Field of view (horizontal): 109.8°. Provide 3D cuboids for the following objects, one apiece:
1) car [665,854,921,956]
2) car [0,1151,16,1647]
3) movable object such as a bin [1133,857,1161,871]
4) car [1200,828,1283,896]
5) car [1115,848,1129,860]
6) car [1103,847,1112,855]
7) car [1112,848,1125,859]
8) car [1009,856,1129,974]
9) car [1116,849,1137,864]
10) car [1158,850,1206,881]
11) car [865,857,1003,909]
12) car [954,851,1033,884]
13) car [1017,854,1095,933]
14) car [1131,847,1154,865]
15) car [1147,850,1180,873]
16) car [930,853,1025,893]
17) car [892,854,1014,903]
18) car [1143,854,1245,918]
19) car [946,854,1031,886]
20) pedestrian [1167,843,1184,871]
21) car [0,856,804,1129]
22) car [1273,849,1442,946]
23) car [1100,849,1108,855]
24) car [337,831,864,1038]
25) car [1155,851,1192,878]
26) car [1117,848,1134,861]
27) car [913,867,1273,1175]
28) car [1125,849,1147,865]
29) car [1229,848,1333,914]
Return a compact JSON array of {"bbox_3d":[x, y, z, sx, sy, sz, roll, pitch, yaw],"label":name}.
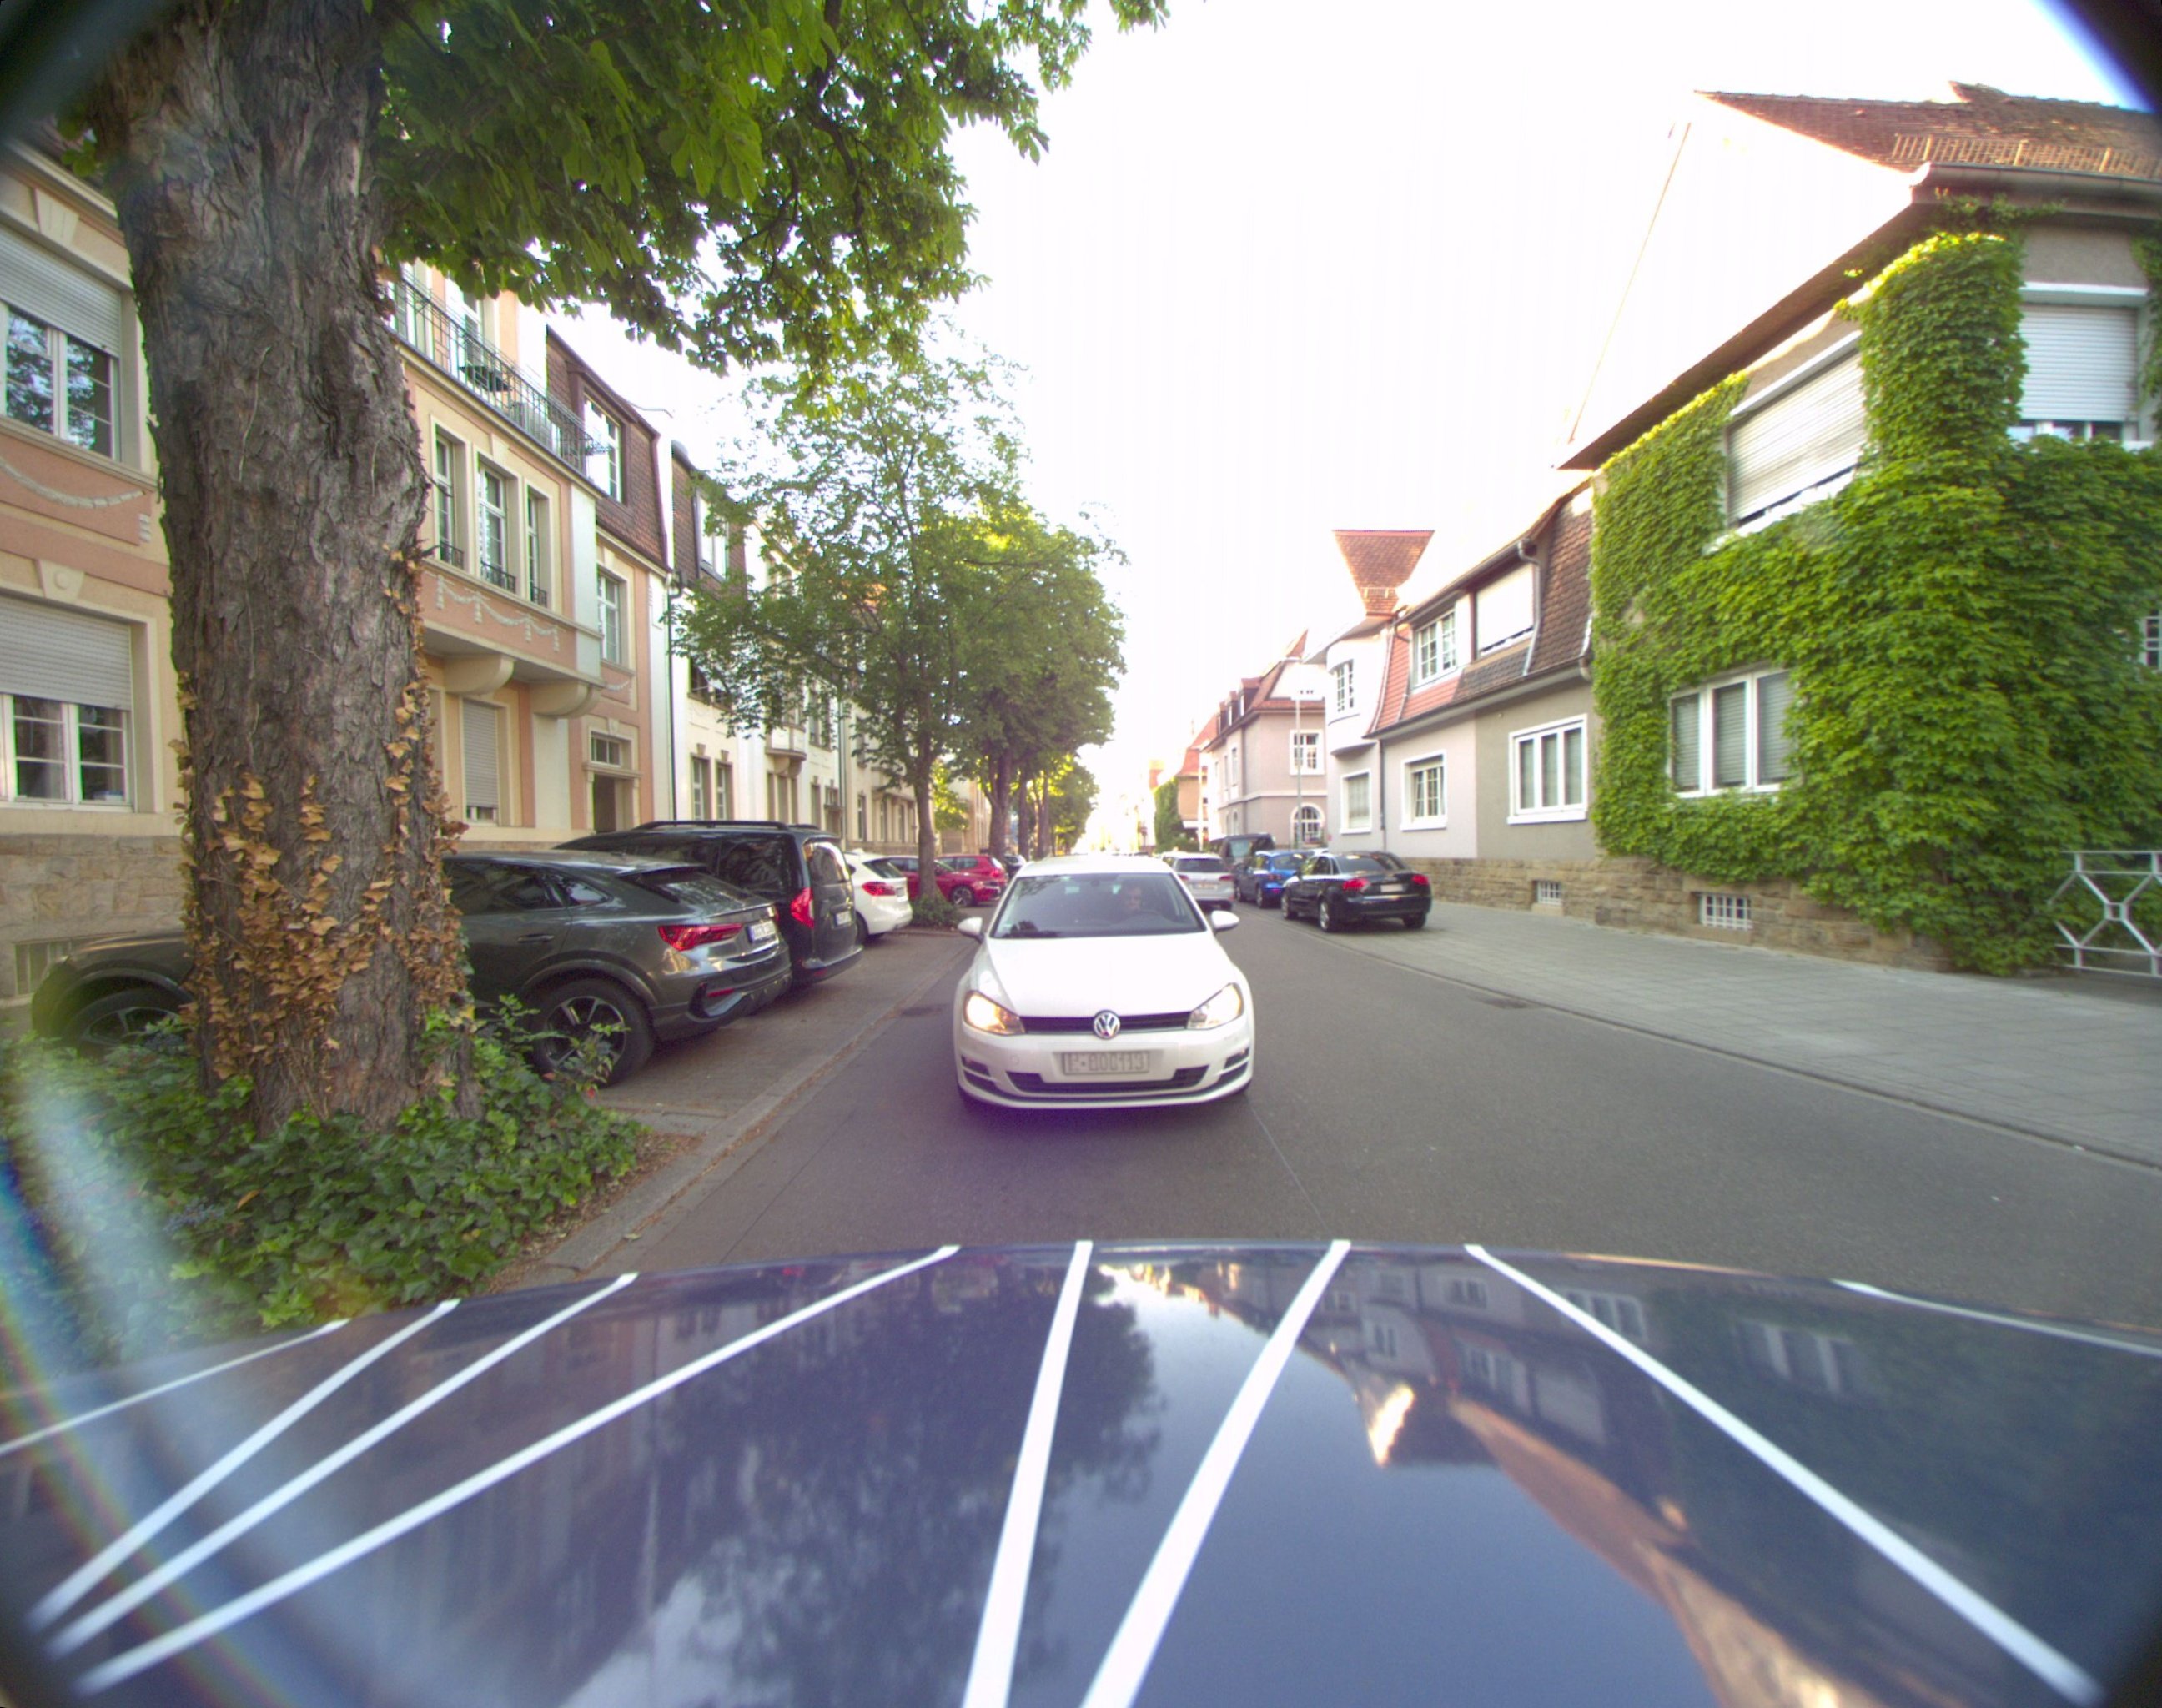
[{"bbox_3d":[-4.575,0.800,12.452,3.623,1.541,1.537,1,1,-4],"label":"car"},{"bbox_3d":[-4.662,0.790,0.523,4.835,1.814,1.880,1,1,-4],"label":"car"},{"bbox_3d":[4.827,0.705,55.188,1.942,0.943,1.433,1,0,7],"label":"movable object such as a bin"},{"bbox_3d":[5.235,0.209,25.330,1.719,1.961,4.310,-4,1,0],"label":"car"},{"bbox_3d":[5.463,-0.062,101.337,1.643,1.461,3.689,-3,0,0],"label":"car"},{"bbox_3d":[5.242,-0.545,149.421,1.643,1.461,3.689,-3,0,0],"label":"car"},{"bbox_3d":[5.702,-0.082,115.853,1.643,1.461,3.689,-3,0,0],"label":"car"},{"bbox_3d":[-0.135,0.838,12.280,1.600,1.546,4.000,1,0,1],"label":"car"},{"bbox_3d":[4.841,0.242,80.744,1.643,1.461,3.688,-3,0,-4],"label":"car"},{"bbox_3d":[4.977,0.546,37.943,1.719,1.363,4.334,-3,0,0],"label":"car"},{"bbox_3d":[-4.148,0.798,21.748,3.622,1.395,1.537,1,1,0],"label":"car"},{"bbox_3d":[-4.197,0.642,36.866,3.622,1.555,1.537,0,1,0],"label":"car"},{"bbox_3d":[-0.483,0.801,17.179,1.560,1.546,3.738,1,0,1],"label":"car"},{"bbox_3d":[5.535,0.136,68.258,1.643,1.461,3.945,-3,0,0],"label":"car"},{"bbox_3d":[5.448,0.475,50.649,1.719,1.363,3.945,-3,0,0],"label":"car"},{"bbox_3d":[-4.169,0.752,30.954,3.622,1.555,1.537,0,1,0],"label":"car"},{"bbox_3d":[-4.041,0.765,24.348,3.622,1.456,1.537,1,1,0],"label":"car"},{"bbox_3d":[2.799,0.749,19.815,1.786,1.453,4.298,1,0,-3],"label":"car"},{"bbox_3d":[-4.135,0.721,34.264,3.622,1.395,1.537,0,1,0],"label":"car"},{"bbox_3d":[6.843,0.245,55.100,1.188,2.002,0.931,1,1,4],"label":"pedestrian"},{"bbox_3d":[-4.353,0.846,5.422,4.173,1.583,1.594,1,1,-4],"label":"car"},{"bbox_3d":[5.022,0.696,14.429,1.751,1.421,4.023,-4,1,1],"label":"car"},{"bbox_3d":[5.160,-0.456,173.348,1.643,1.461,3.689,-3,0,0],"label":"car"},{"bbox_3d":[-4.475,0.712,7.600,4.173,1.816,1.594,1,1,-4],"label":"car"},{"bbox_3d":[5.110,0.539,42.376,1.541,1.363,3.945,-3,0,0],"label":"car"},{"bbox_3d":[5.301,0.051,91.137,1.643,1.461,3.689,-3,0,-1],"label":"car"},{"bbox_3d":[0.027,0.892,5.926,1.799,1.420,4.023,-2,0,-1],"label":"car"},{"bbox_3d":[5.413,0.283,75.427,1.643,1.461,3.688,-3,0,-4],"label":"car"},{"bbox_3d":[5.232,0.646,20.390,1.611,1.455,4.023,-4,1,0],"label":"car"}]
